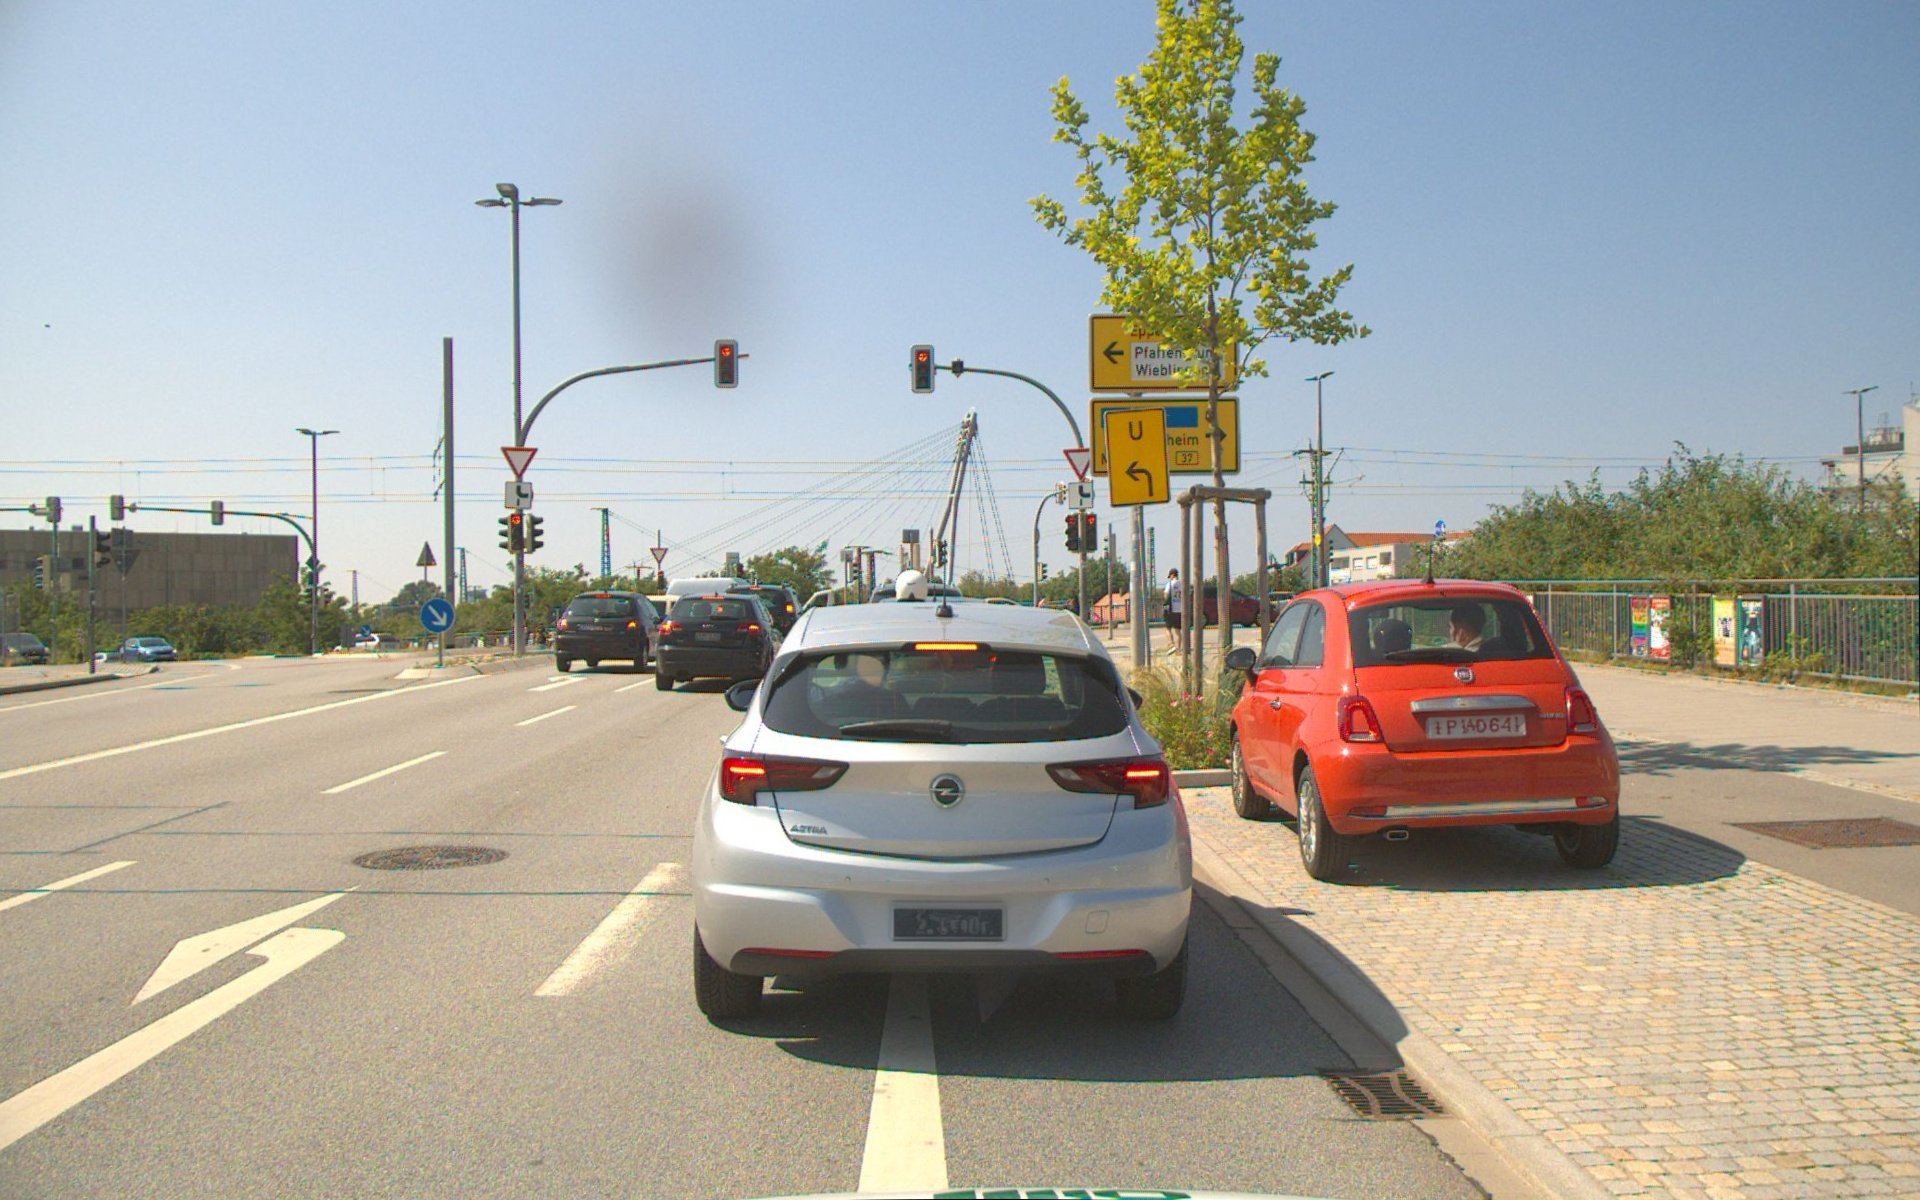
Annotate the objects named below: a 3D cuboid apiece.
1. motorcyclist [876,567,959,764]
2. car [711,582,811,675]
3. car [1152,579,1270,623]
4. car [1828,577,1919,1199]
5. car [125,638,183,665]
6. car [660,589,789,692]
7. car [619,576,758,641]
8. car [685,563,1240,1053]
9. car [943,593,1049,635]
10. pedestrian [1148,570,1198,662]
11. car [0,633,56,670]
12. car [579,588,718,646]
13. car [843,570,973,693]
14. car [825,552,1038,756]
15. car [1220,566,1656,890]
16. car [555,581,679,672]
[{"bbox_3d":[-0.311,0.472,12.260,0.570,1.413,0.706,1,-1,-1],"label":"motorcyclist"},{"bbox_3d":[-3.732,0.512,31.556,1.616,1.643,3.818,1,0,-3],"label":"car"},{"bbox_3d":[9.710,0.062,64.072,4.198,1.660,1.751,0,-1,-11],"label":"car"},{"bbox_3d":[2.921,0.641,1.927,1.626,1.451,3.999,-2,0,-1],"label":"car"},{"bbox_3d":[-41.355,2.630,84.825,1.806,1.354,3.941,1,-2,-40],"label":"car"},{"bbox_3d":[-3.577,0.586,25.659,1.543,1.459,3.785,1,0,-2],"label":"car"},{"bbox_3d":[-10.365,0.324,63.266,4.893,2.418,1.785,0,-1,11],"label":"car"},{"bbox_3d":[-0.093,0.660,7.138,1.708,1.503,3.997,1,0,-3],"label":"car"},{"bbox_3d":[1.340,0.521,63.397,3.908,1.508,1.998,1,0,-4],"label":"car"},{"bbox_3d":[4.392,0.331,34.088,0.790,1.868,0.640,0,-1,-39],"label":"pedestrian"},{"bbox_3d":[-41.154,2.263,73.009,1.662,1.502,3.358,-1,1,-39],"label":"car"},{"bbox_3d":[-11.441,0.601,60.886,4.602,2.049,2.001,0,-1,15],"label":"car"},{"bbox_3d":[-0.702,0.380,23.785,1.689,1.591,4.000,1,1,-1],"label":"car"},{"bbox_3d":[-0.294,0.474,17.530,1.953,1.852,4.401,1,1,-1],"label":"car"},{"bbox_3d":[2.606,0.613,9.777,1.577,1.522,3.352,-2,0,0],"label":"car"},{"bbox_3d":[-6.351,0.480,30.969,1.565,1.574,3.761,1,0,-1],"label":"car"}]
